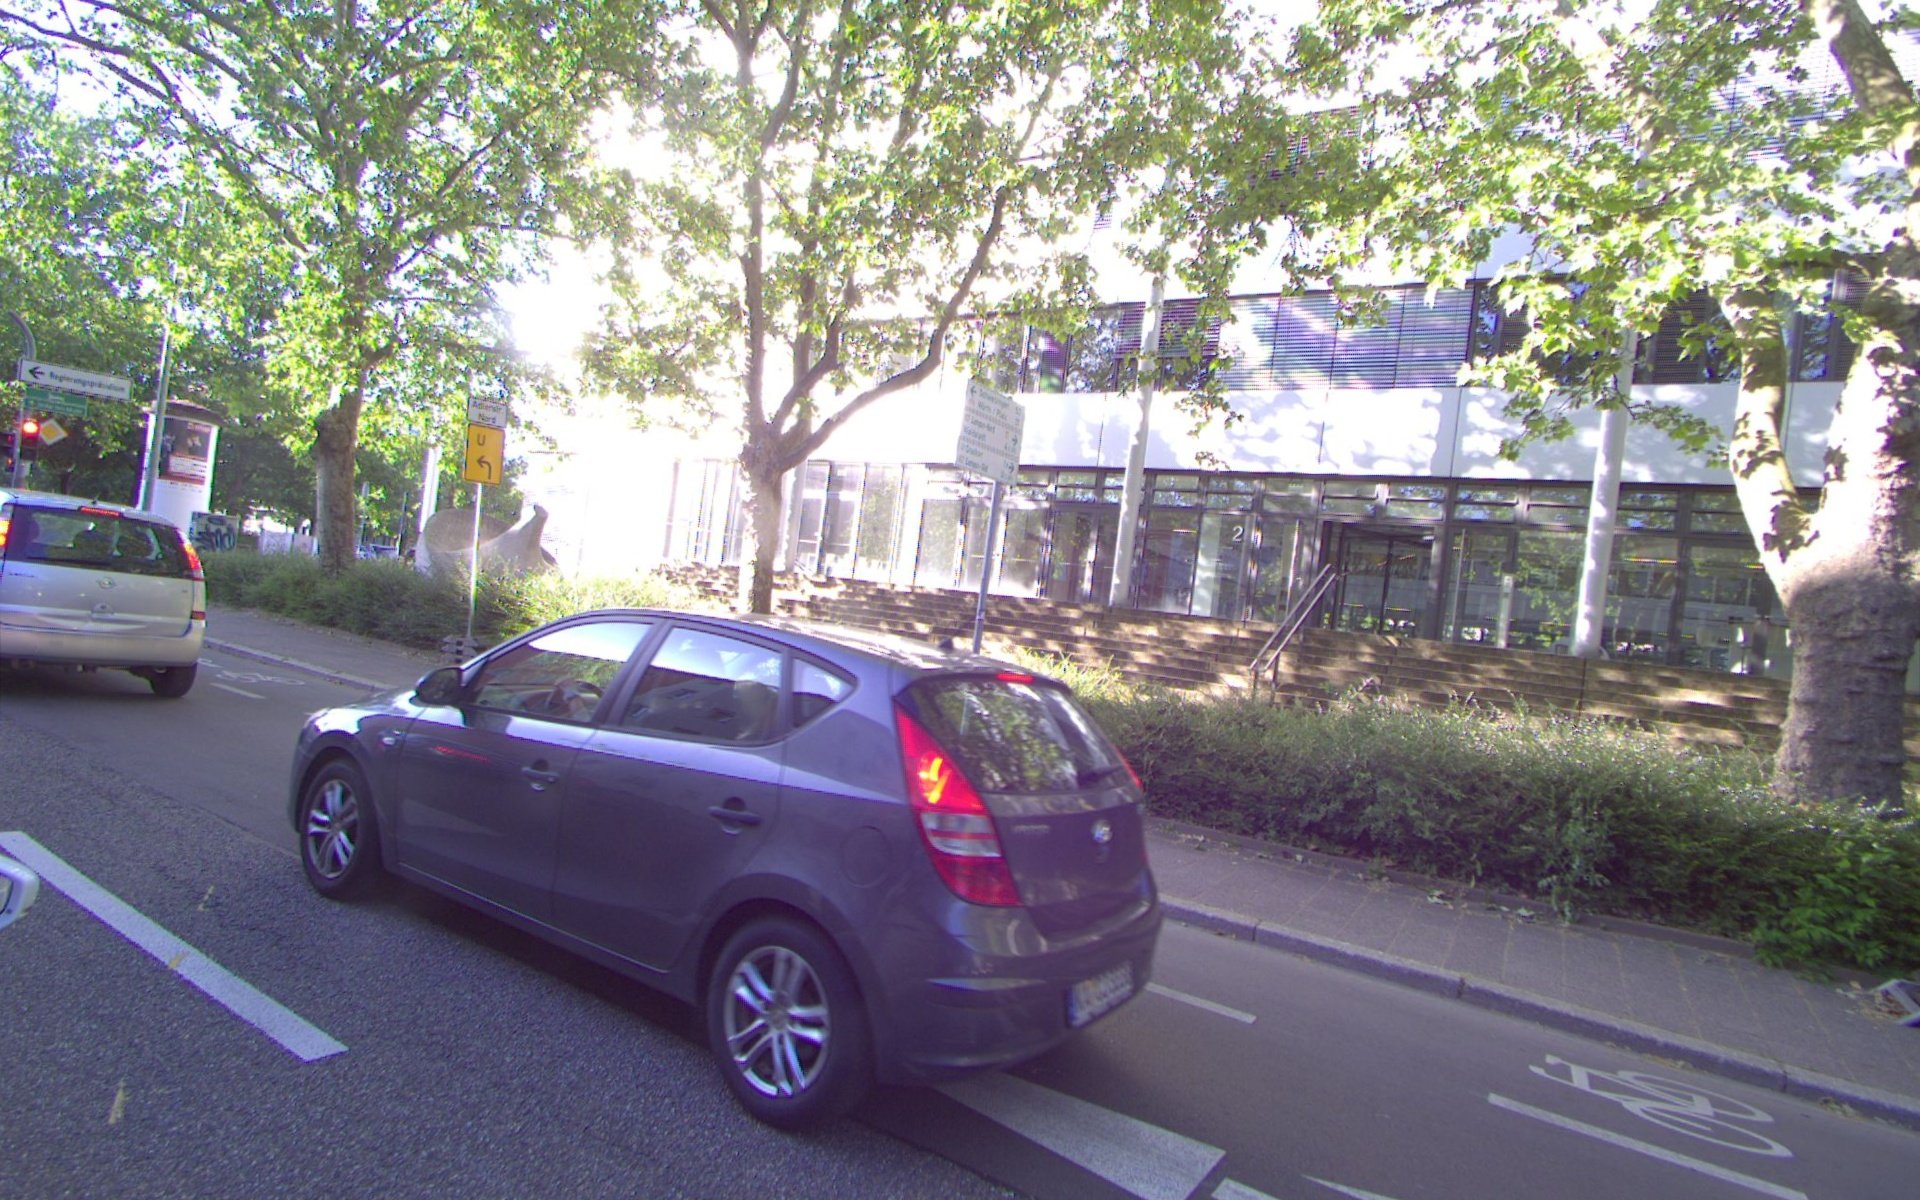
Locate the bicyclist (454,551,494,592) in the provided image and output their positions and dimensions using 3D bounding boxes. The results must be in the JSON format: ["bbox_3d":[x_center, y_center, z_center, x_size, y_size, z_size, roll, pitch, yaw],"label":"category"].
[{"bbox_3d":[-19.951,-1.149,41.335,0.700,1.508,1.118,7,-1,31],"label":"bicyclist"}]

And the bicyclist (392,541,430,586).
[{"bbox_3d":[-22.131,-1.468,40.583,0.597,1.662,1.017,7,-1,26],"label":"bicyclist"}]

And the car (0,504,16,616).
[{"bbox_3d":[-13.988,-0.731,12.607,4.592,1.481,1.917,7,-2,32],"label":"car"}]

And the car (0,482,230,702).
[{"bbox_3d":[-8.424,-0.189,9.029,3.797,1.622,1.703,7,-1,34],"label":"car"}]

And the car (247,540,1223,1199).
[{"bbox_3d":[-1.122,0.734,4.307,3.910,1.499,1.647,7,-1,32],"label":"car"}]

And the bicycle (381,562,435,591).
[{"bbox_3d":[-22.215,-0.938,40.530,0.603,0.957,1.800,7,-2,26],"label":"bicycle"}]
